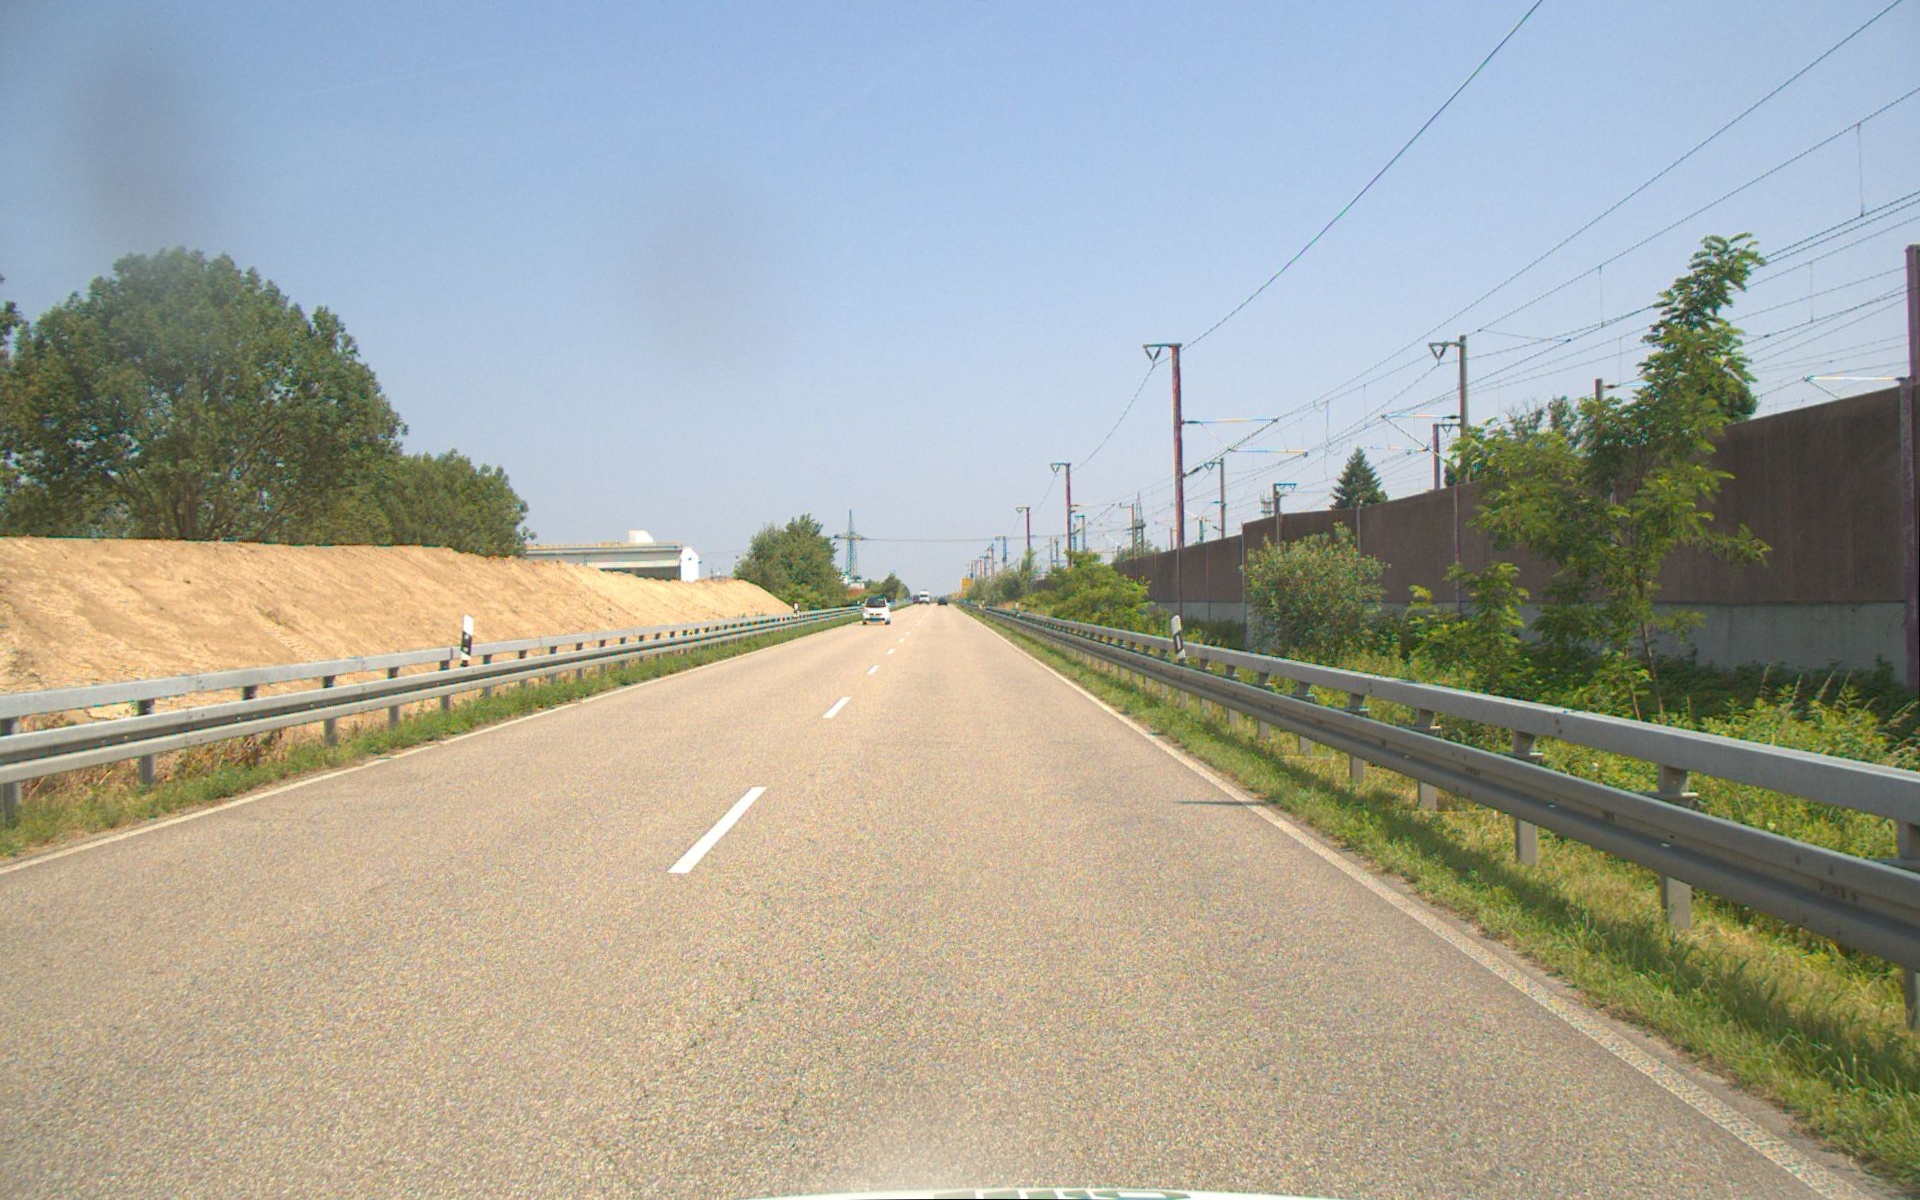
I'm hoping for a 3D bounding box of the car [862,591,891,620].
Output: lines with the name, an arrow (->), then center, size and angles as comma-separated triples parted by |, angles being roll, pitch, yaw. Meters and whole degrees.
car -> -4.801, 0.321, 95.049 | 1.563, 1.603, 3.827 | 0, 0, -1
